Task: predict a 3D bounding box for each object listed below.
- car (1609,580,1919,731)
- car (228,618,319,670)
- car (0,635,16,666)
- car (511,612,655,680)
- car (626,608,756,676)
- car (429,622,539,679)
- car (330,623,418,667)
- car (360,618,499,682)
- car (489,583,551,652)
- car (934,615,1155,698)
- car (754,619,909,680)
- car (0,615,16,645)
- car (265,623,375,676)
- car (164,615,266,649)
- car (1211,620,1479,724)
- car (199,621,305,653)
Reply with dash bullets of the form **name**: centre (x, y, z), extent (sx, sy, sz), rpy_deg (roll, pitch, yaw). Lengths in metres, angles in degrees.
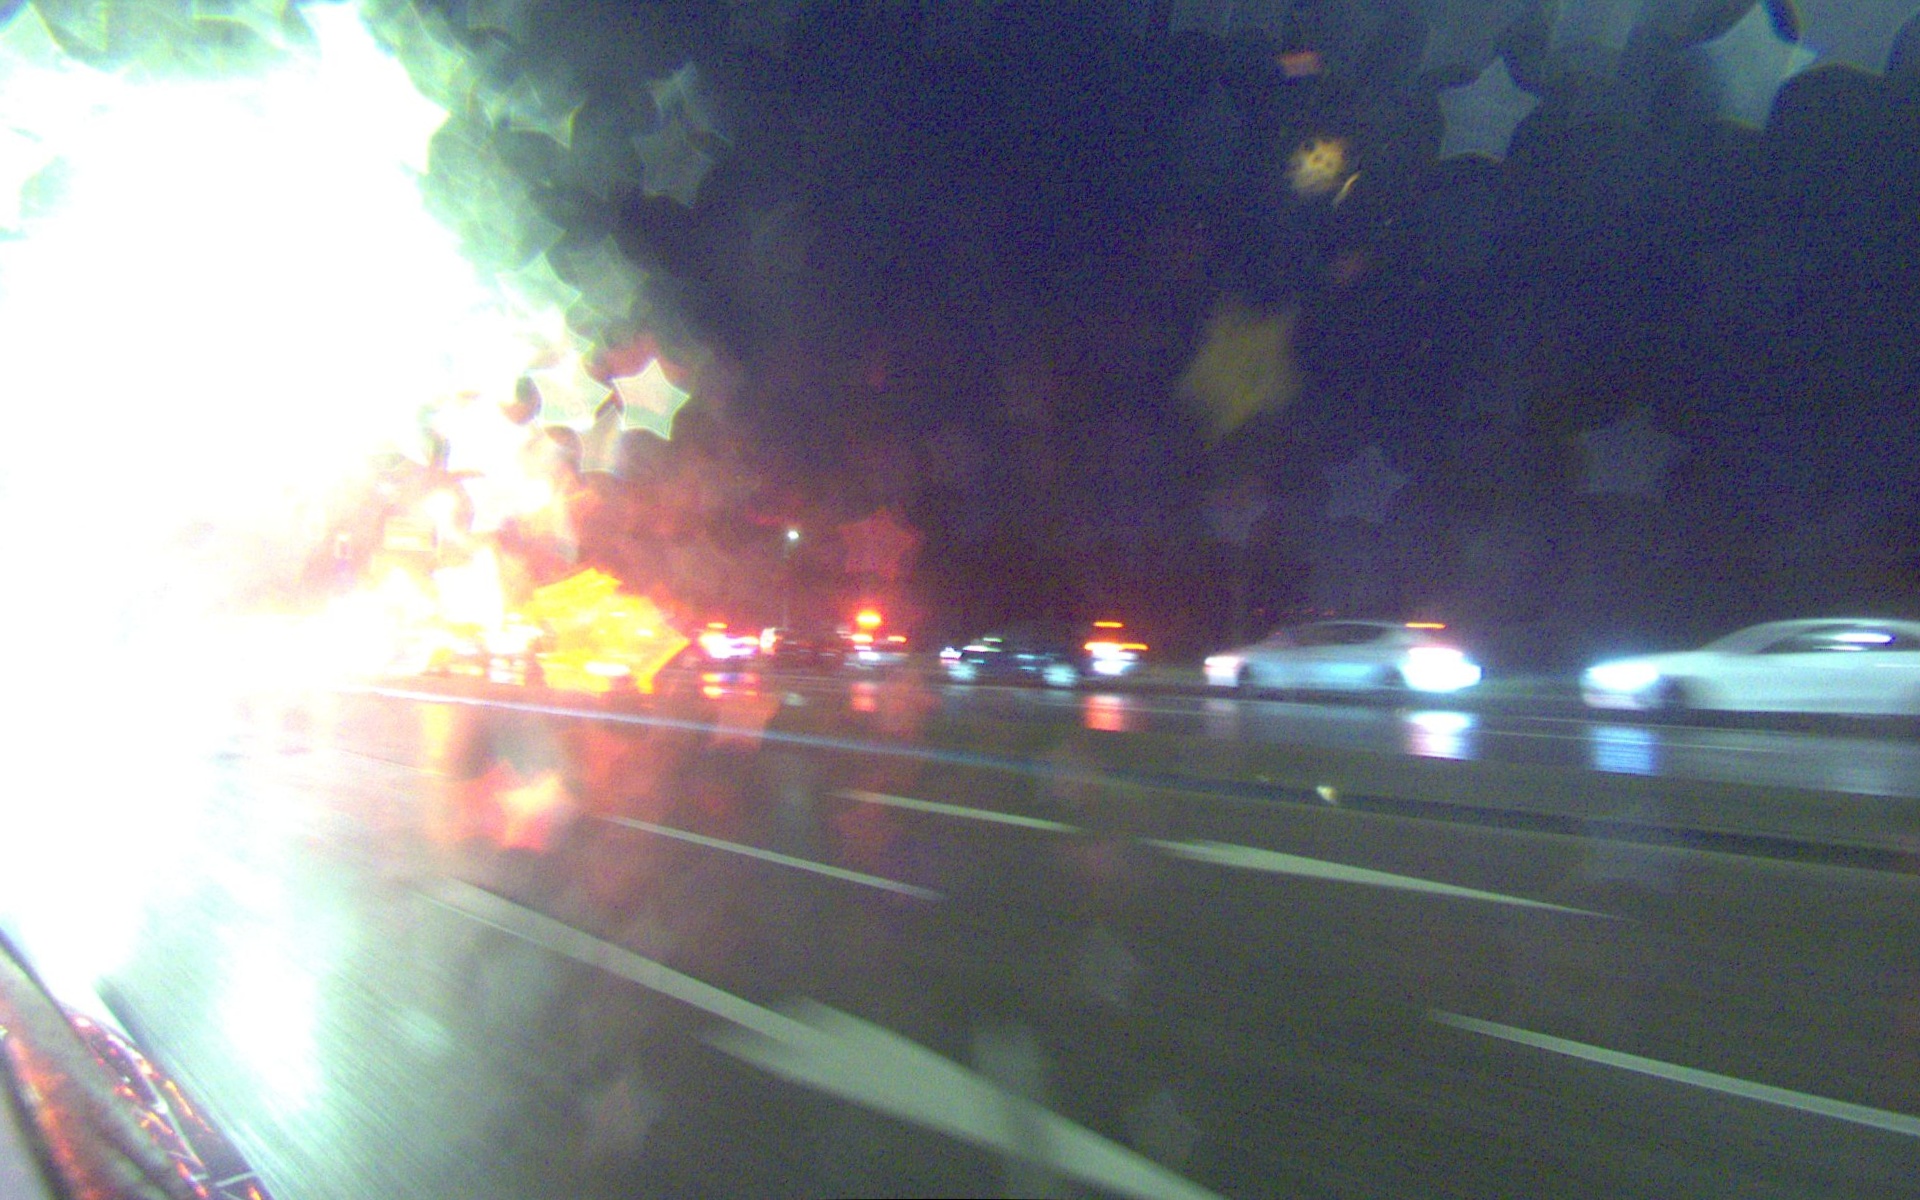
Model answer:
- **car**: centre (11.169, 0.640, 13.069), extent (4.431, 1.541, 1.864), rpy_deg (3, 7, 42)
- **car**: centre (-24.371, 1.532, 35.884), extent (3.899, 1.738, 1.741), rpy_deg (-2, -1, 41)
- **car**: centre (-64.186, 3.339, 67.394), extent (4.147, 1.868, 1.644), rpy_deg (1, 0, 44)
- **car**: centre (-10.435, 1.196, 27.847), extent (4.485, 1.678, 1.780), rpy_deg (0, 0, 41)
- **car**: centre (-8.095, 1.192, 30.315), extent (4.122, 1.862, 1.741), rpy_deg (0, 0, 41)
- **car**: centre (-15.475, 1.580, 32.827), extent (3.974, 1.678, 1.780), rpy_deg (0, 0, 41)
- **car**: centre (-22.168, 1.661, 38.235), extent (4.057, 1.498, 1.694), rpy_deg (0, 0, 42)
- **car**: centre (-14.267, 1.303, 27.137), extent (4.302, 1.590, 1.794), rpy_deg (-1, -2, 40)
- **car**: centre (-19.289, 0.763, 44.520), extent (2.217, 2.730, 5.627), rpy_deg (-3, 0, -22)
- **car**: centre (1.749, 1.168, 21.892), extent (4.530, 1.550, 1.833), rpy_deg (0, -3, 41)
- **car**: centre (-3.391, 1.236, 26.324), extent (4.037, 1.387, 1.741), rpy_deg (0, 0, 41)
- **car**: centre (-69.560, 2.167, 73.066), extent (4.147, 2.039, 1.768), rpy_deg (1, 0, 44)
- **car**: centre (-19.959, 1.502, 31.498), extent (4.410, 1.495, 1.758), rpy_deg (-2, -1, 42)
- **car**: centre (-39.516, 1.677, 53.726), extent (1.848, 1.718, 4.072), rpy_deg (-2, -1, 42)
- **car**: centre (6.672, 1.187, 17.825), extent (4.144, 1.614, 1.478), rpy_deg (-2, -1, 41)
- **car**: centre (-35.931, 1.870, 51.440), extent (1.680, 1.456, 4.118), rpy_deg (-2, -1, 41)
